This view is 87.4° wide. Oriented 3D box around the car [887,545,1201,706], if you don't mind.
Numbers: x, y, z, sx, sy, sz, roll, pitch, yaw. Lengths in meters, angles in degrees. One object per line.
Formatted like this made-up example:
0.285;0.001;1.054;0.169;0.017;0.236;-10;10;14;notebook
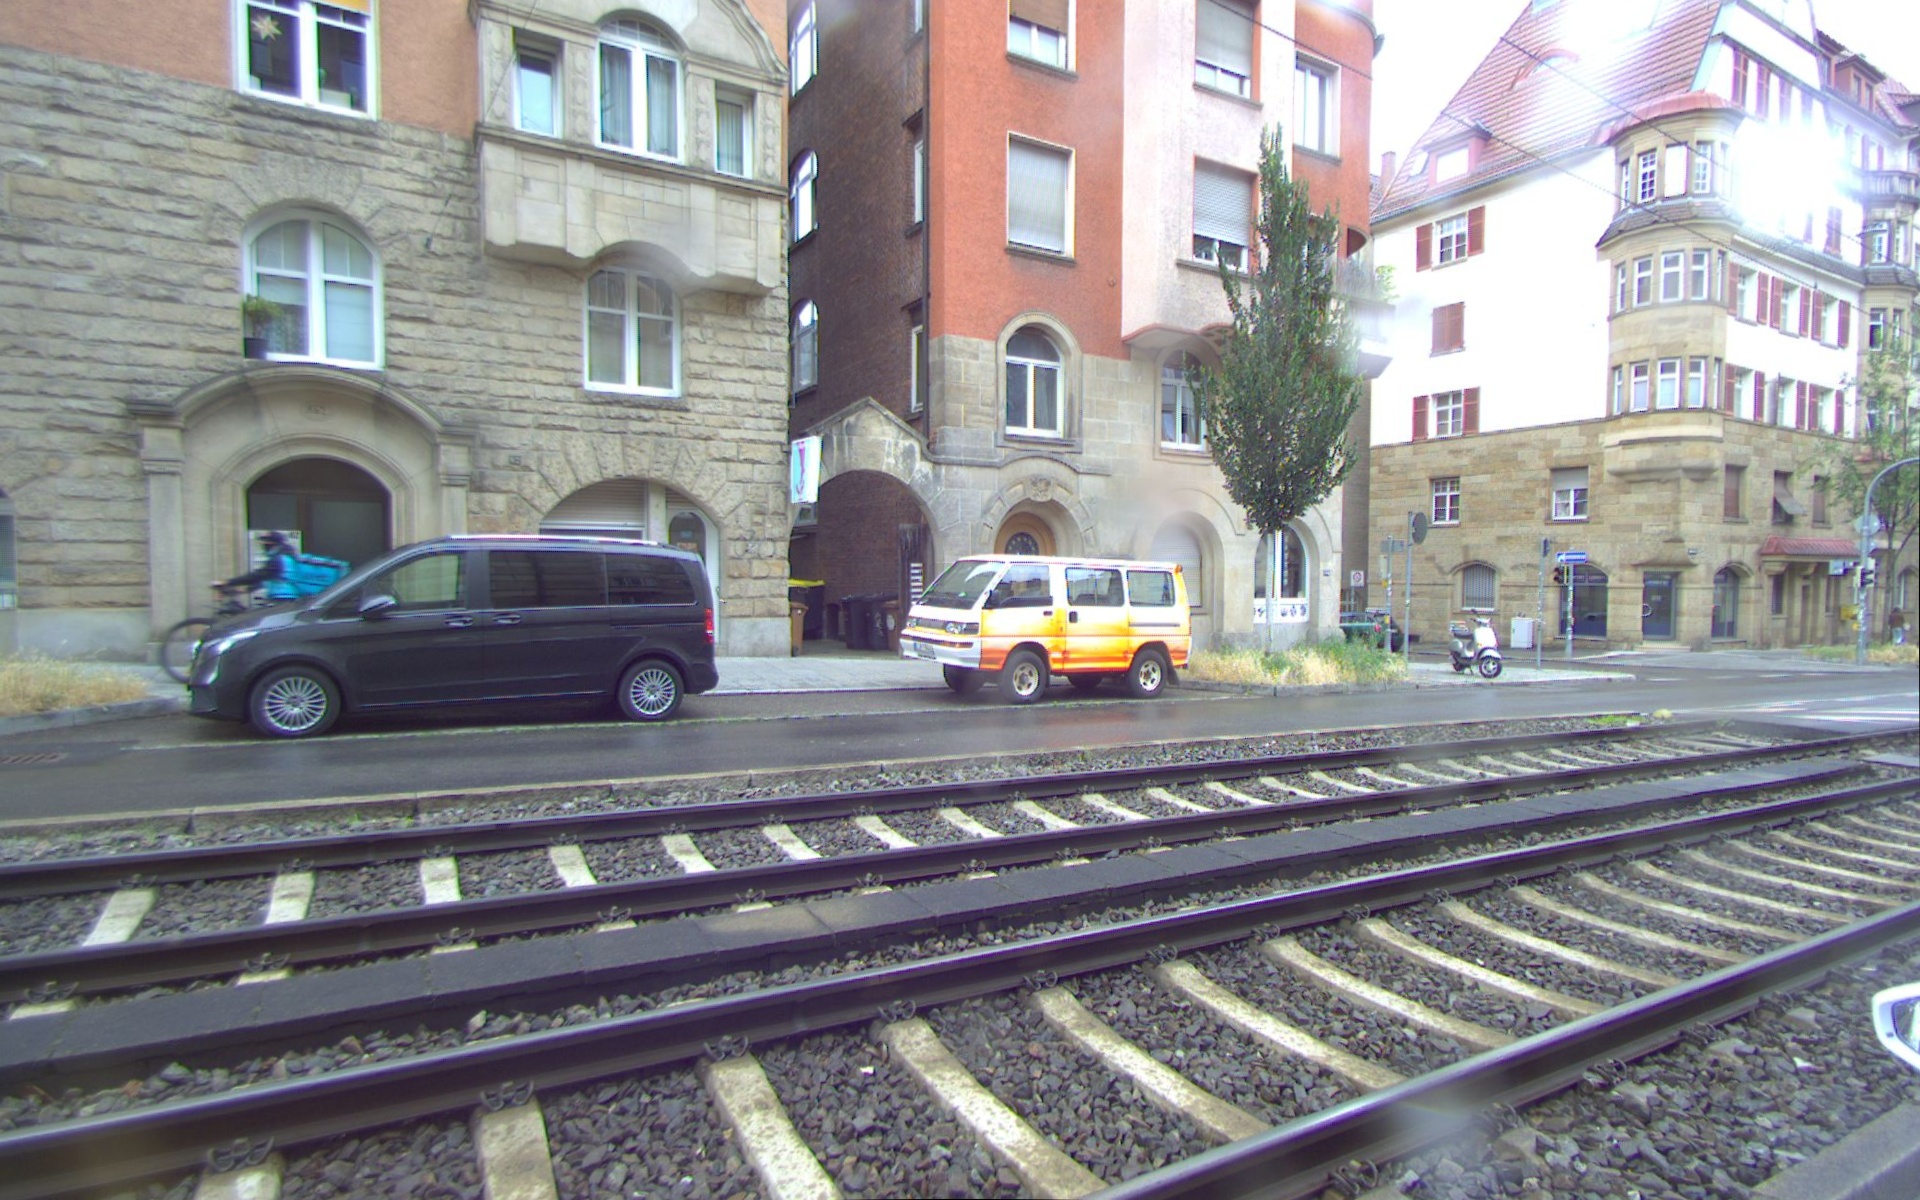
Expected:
1.272;0.372;14.433;4.295;2.001;1.721;2;0;-32;car

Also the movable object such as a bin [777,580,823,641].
-3.614;0.234;22.650;0.676;1.324;1.154;1;1;-26;movable object such as a bin

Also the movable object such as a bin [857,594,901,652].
-1.550;0.436;19.133;0.607;1.090;0.679;1;-1;-27;movable object such as a bin

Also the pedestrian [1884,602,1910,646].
36.098;0.921;38.698;0.697;1.695;0.626;2;0;-39;pedestrian

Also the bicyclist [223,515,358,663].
-7.722;-0.107;11.664;1.239;1.618;0.879;1;0;-31;bicyclist

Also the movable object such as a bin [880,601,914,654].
-1.177;0.511;18.625;0.442;0.957;0.557;1;-1;-27;movable object such as a bin

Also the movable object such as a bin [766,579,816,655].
-3.110;0.297;18.457;0.648;1.360;0.903;1;1;-27;movable object such as a bin

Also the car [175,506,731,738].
-5.055;0.245;10.588;4.769;1.968;1.984;2;0;-30;car

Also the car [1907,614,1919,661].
34.164;1.335;34.347;3.994;1.573;1.741;2;0;-34;car

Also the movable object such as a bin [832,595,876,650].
-2.087;0.441;19.679;0.607;1.052;0.793;1;-1;-27;movable object such as a bin

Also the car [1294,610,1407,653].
14.458;1.156;37.337;1.683;1.423;3.618;2;0;-34;car

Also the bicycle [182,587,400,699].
-7.706;0.486;11.681;2.015;1.202;0.819;2;0;-33;bicycle

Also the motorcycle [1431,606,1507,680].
10.102;0.829;19.994;0.612;1.384;1.596;2;0;-3;motorcycle

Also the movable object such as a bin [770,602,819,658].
-2.895;0.518;17.584;0.627;0.918;0.793;1;1;-27;movable object such as a bin
